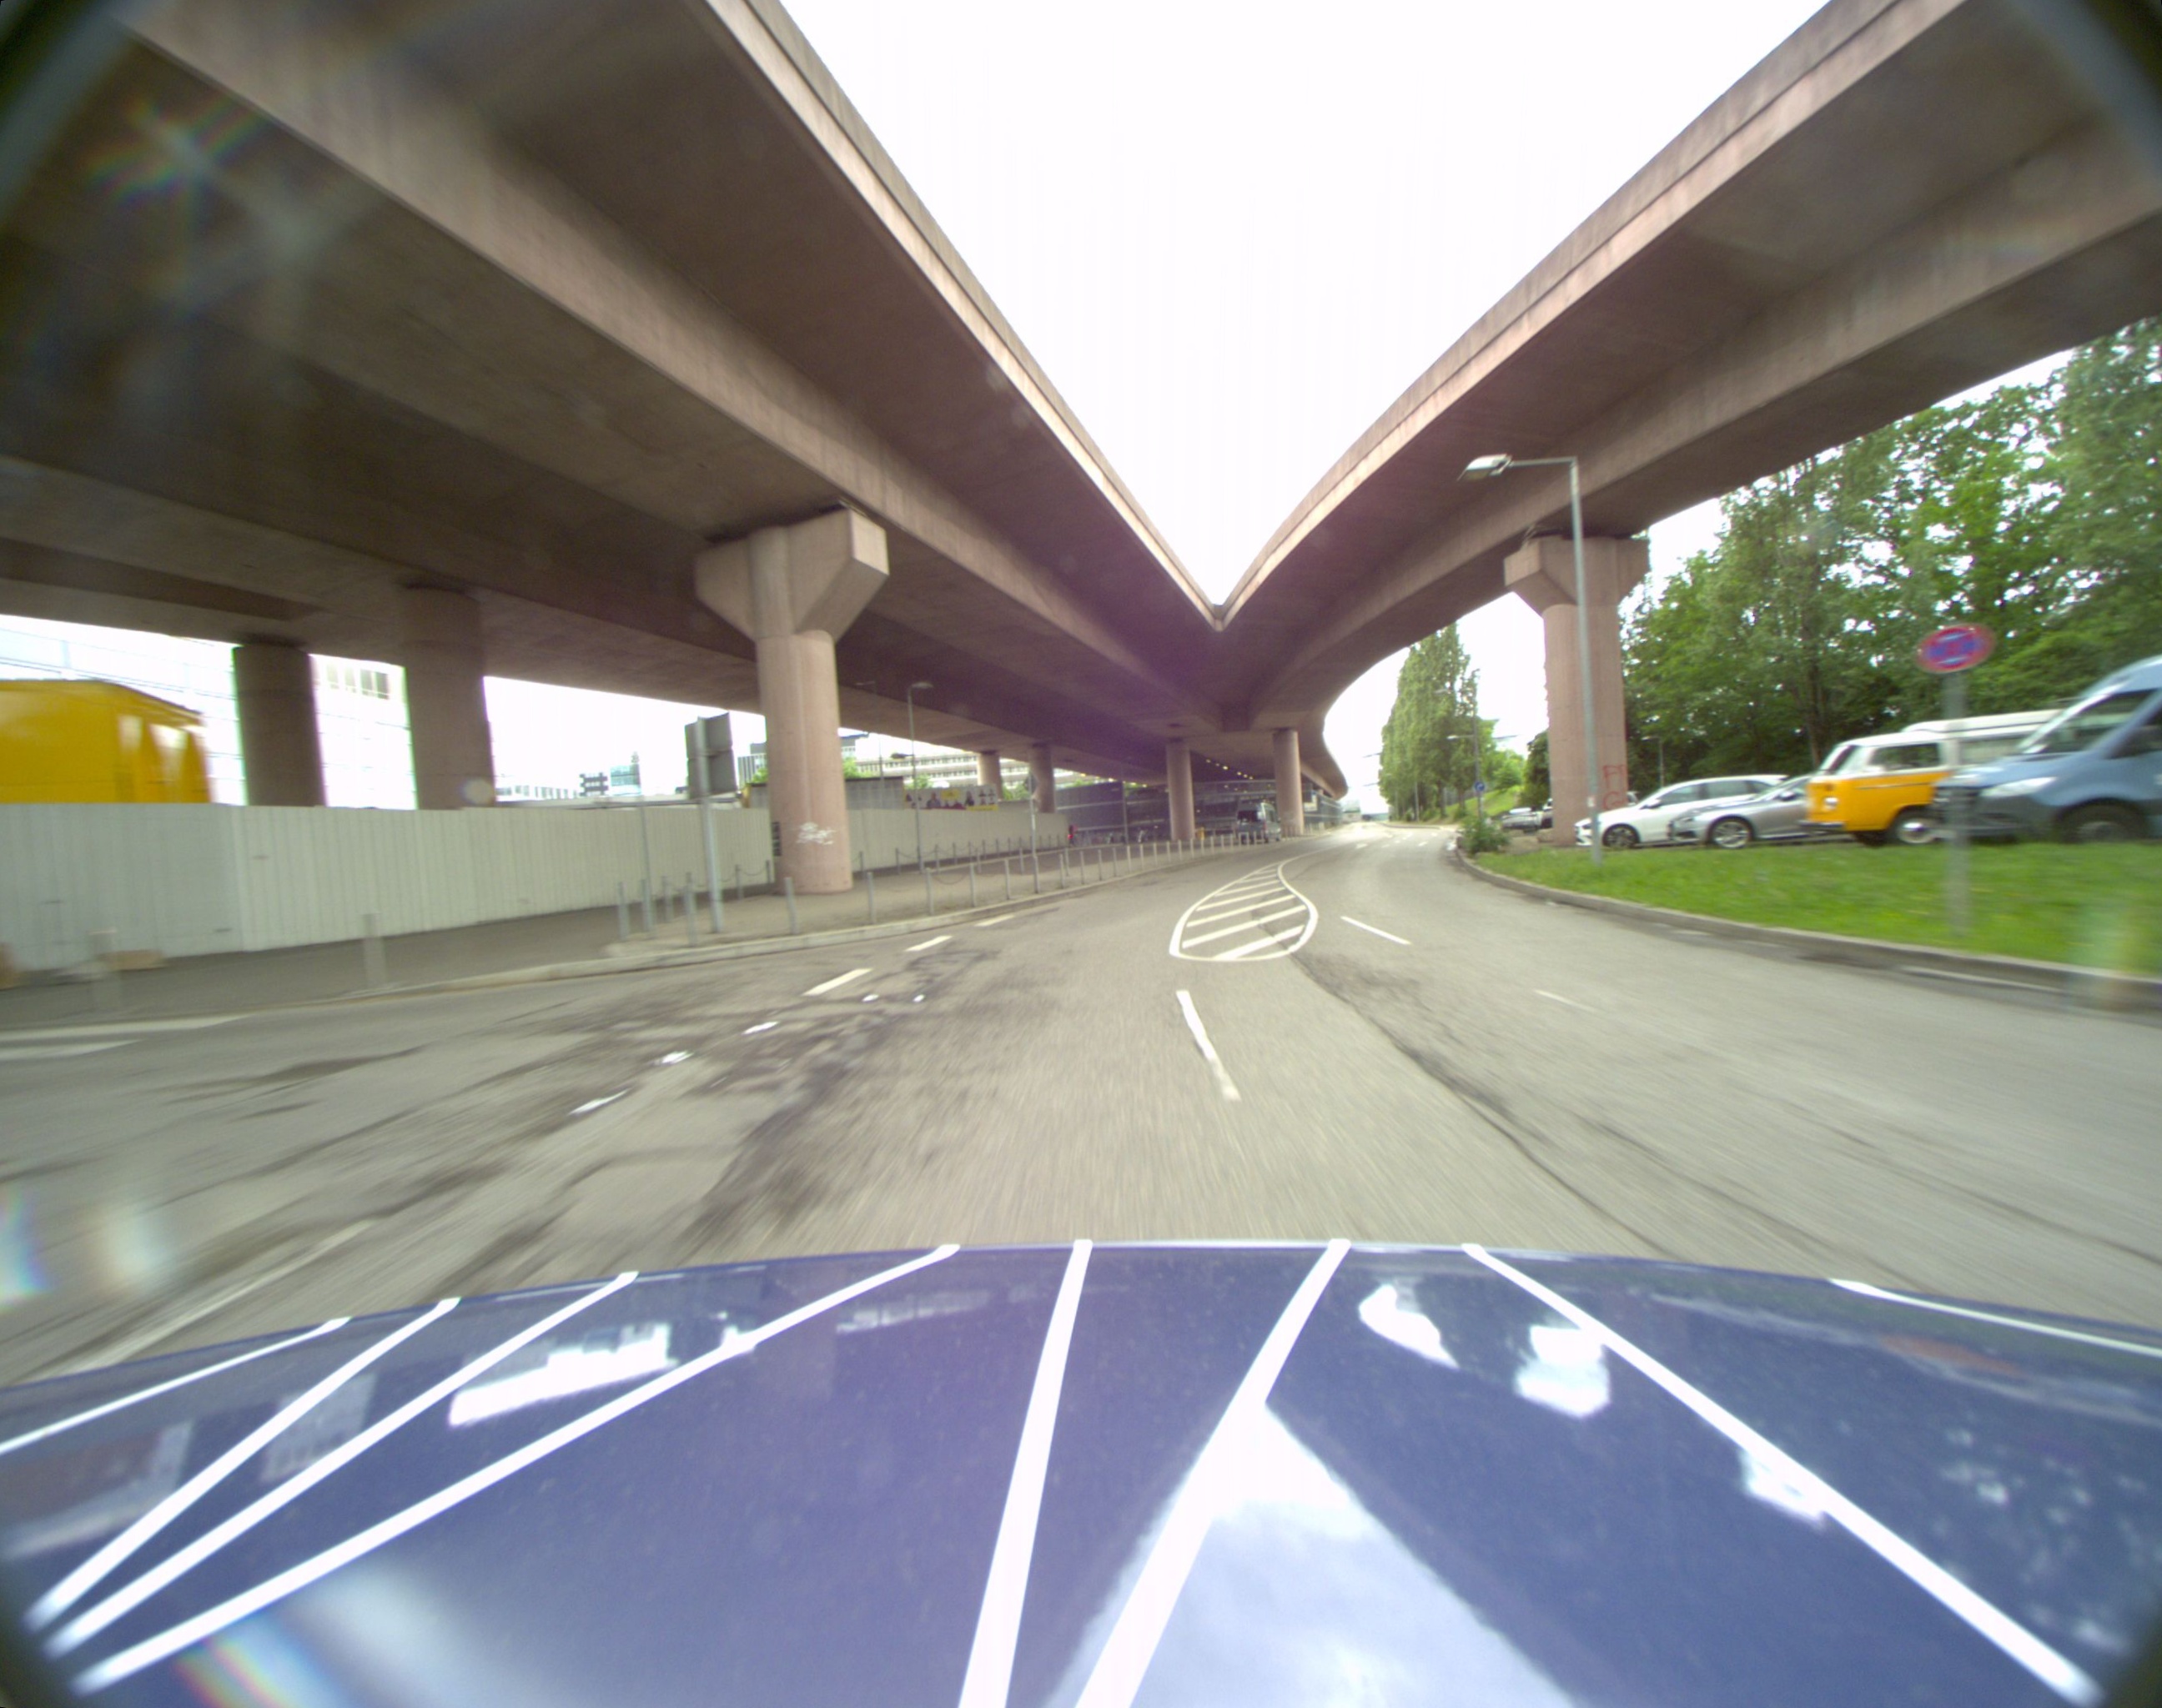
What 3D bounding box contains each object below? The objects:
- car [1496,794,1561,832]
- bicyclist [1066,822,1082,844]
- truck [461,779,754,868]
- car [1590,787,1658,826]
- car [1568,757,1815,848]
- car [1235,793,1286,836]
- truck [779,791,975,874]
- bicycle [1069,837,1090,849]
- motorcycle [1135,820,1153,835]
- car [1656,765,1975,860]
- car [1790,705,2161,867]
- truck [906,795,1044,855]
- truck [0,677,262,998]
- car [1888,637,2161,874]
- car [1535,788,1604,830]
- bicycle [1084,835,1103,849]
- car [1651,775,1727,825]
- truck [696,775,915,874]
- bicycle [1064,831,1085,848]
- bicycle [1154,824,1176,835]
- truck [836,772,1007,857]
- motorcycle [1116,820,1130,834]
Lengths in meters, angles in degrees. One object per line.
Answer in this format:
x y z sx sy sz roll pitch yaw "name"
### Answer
24.123 -2.233 40.878 1.995 1.471 4.835 -7 1 41 "car"
-0.465 -1.410 50.348 0.797 1.398 1.067 -2 2 15 "bicyclist"
-17.061 -1.222 28.303 8.728 2.928 3.140 -2 4 -26 "truck"
23.564 -2.078 32.921 1.788 1.446 3.753 -2 2 44 "car"
14.490 -1.178 18.423 4.384 1.596 1.957 -5 0 34 "car"
12.121 -2.633 51.031 1.995 2.598 6.082 -2 2 25 "car"
-11.381 -1.302 42.934 10.078 4.160 2.891 -4 3 -27 "truck"
-0.184 -1.084 75.197 2.058 1.017 0.396 -3 1 26 "bicycle"
5.684 -2.360 68.553 0.783 1.228 2.540 -2 0 24 "motorcycle"
14.482 -0.781 15.411 4.248 1.363 2.003 -5 0 31 "car"
14.736 -1.019 12.158 4.560 2.099 1.853 -4 1 29 "car"
-8.335 -2.385 60.674 10.310 4.280 3.006 -4 3 -27 "truck"
-19.742 -0.041 11.755 8.727 4.890 3.141 -5 2 -27 "truck"
14.751 -1.354 9.274 6.181 2.709 2.371 -4 1 26 "car"
23.767 -2.198 36.884 1.996 1.573 4.407 -8 0 42 "car"
1.123 -1.108 71.016 0.621 1.099 2.325 -1 -2 -30 "bicycle"
23.612 -2.126 29.451 1.858 1.682 4.171 -3 2 44 "car"
-13.657 -1.596 38.049 9.738 4.419 3.140 -4 3 -28 "truck"
-0.415 -0.977 50.491 0.803 1.091 2.133 -2 2 15 "bicycle"
7.974 -2.331 72.321 2.016 0.921 0.419 -3 1 12 "bicycle"
-9.921 -2.549 47.800 9.738 4.897 3.140 -4 2 -28 "truck"
3.814 -2.466 68.702 0.543 1.099 2.334 -3 -2 21 "motorcycle"
